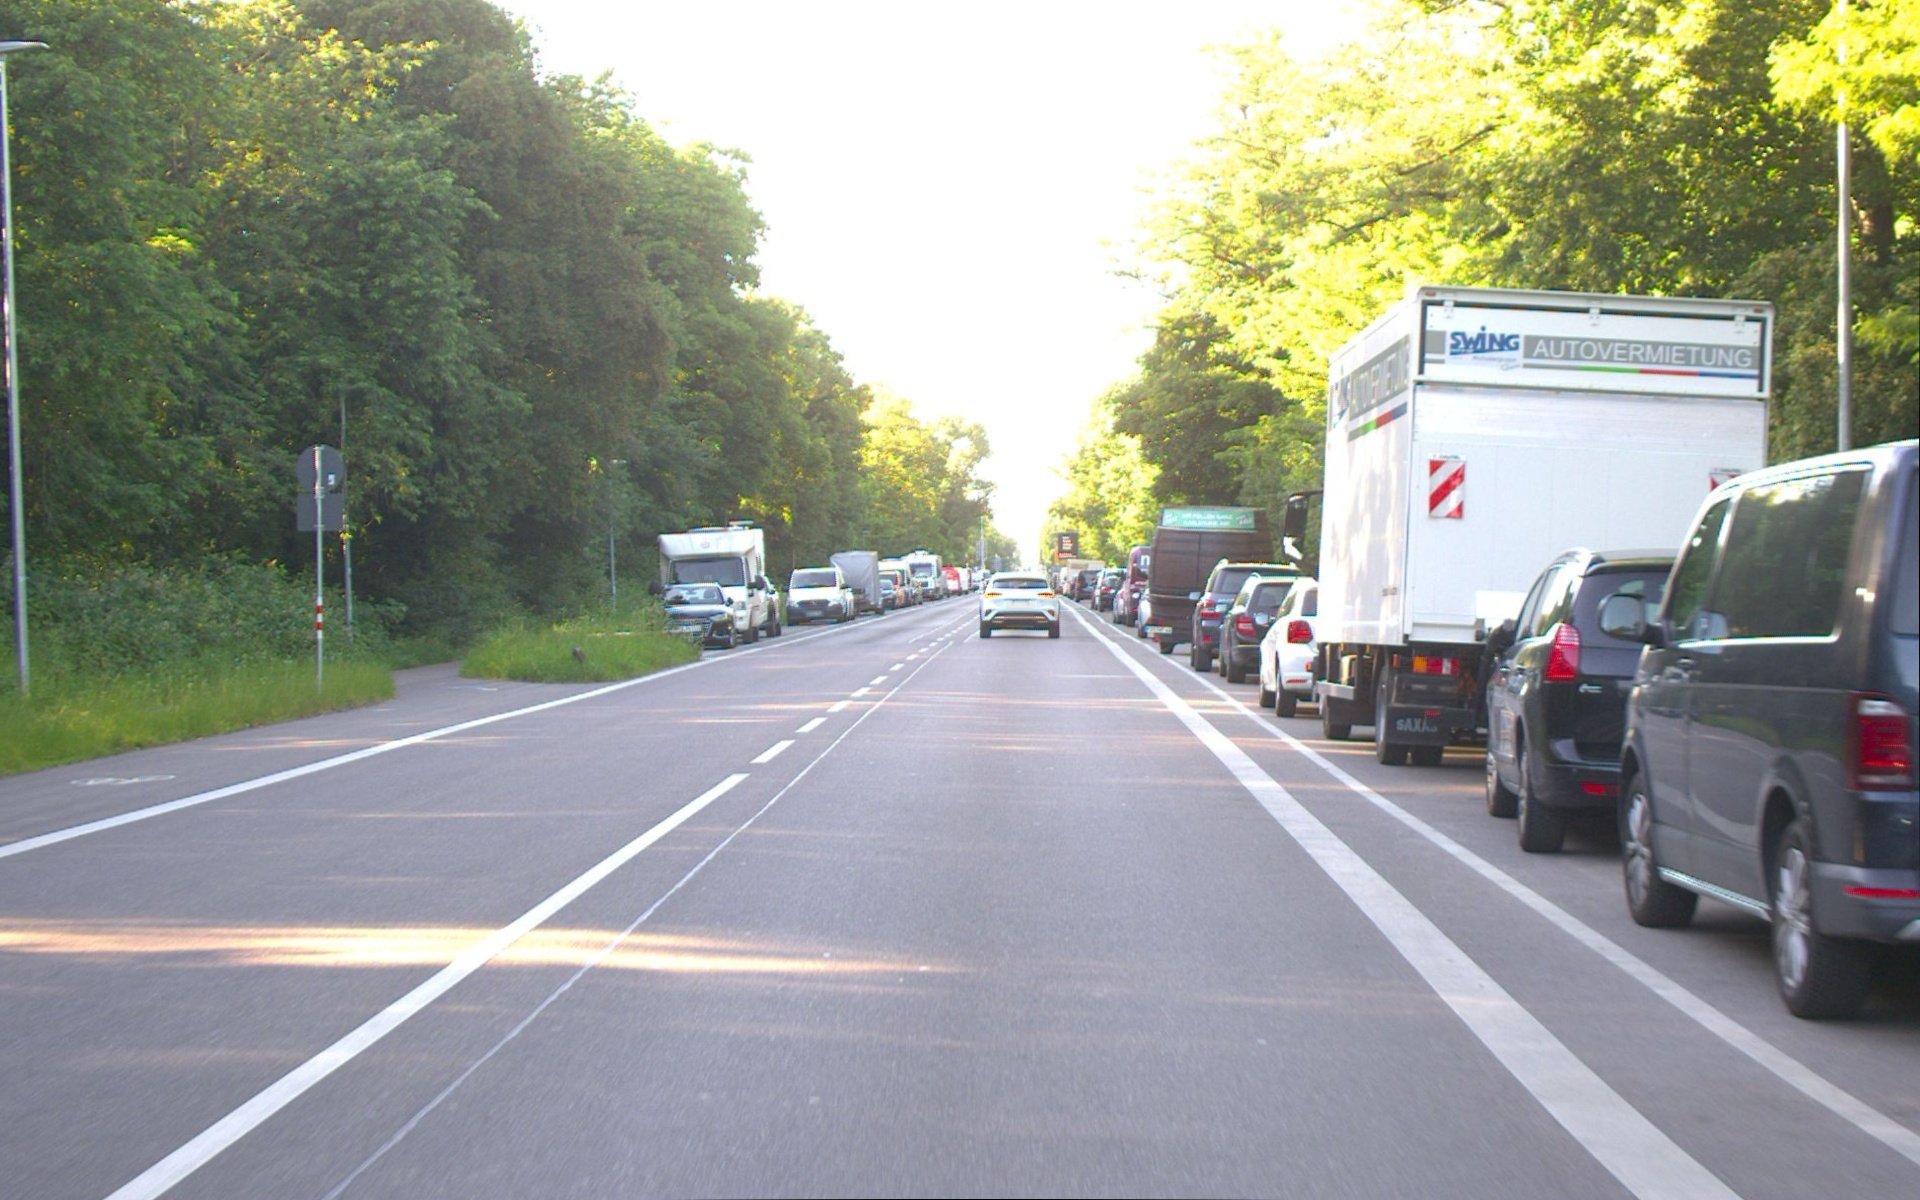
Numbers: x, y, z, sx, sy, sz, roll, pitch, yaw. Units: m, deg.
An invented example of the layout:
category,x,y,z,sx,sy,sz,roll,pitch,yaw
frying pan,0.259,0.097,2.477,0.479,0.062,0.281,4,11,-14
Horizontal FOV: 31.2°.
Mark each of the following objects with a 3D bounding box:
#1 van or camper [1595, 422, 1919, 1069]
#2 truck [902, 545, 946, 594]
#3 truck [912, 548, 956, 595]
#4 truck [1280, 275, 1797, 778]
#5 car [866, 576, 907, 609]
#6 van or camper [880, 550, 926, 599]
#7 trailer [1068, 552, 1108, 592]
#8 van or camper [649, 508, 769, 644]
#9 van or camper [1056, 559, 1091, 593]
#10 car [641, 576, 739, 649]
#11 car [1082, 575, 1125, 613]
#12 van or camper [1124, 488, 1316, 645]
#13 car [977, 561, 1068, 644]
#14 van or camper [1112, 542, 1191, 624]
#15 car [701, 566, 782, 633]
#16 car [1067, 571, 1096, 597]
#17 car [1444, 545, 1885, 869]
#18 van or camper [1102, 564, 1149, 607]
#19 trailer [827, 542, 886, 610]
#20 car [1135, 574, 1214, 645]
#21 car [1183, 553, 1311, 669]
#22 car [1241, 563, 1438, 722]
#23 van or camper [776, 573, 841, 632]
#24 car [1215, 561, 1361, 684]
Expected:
category,x,y,z,sx,sy,sz,roll,pitch,yaw
van or camper,3.710,0.415,12.935,1.897,2.007,4.586,-1,1,2
truck,-2.508,-2.155,242.922,2.708,3.336,10.923,0,0,2
truck,-1.714,-1.897,231.620,2.708,3.083,7.989,0,0,2
truck,4.453,-0.562,28.393,2.832,3.486,8.578,-1,1,0
car,-3.511,-0.380,165.089,1.731,1.473,4.324,-2,0,2
van or camper,-3.047,-1.370,184.413,2.121,2.563,6.542,-1,0,2
trailer,9.142,-2.007,246.850,2.757,2.860,6.588,-1,0,1
van or camper,-5.877,-0.581,81.420,2.314,2.960,7.111,-3,1,-1
van or camper,6.662,-1.407,202.143,1.993,1.925,5.199,1,0,1
car,-5.788,0.244,74.160,1.827,1.471,4.681,-2,1,-2
car,5.935,-0.265,142.086,1.690,1.519,4.149,1,0,2
van or camper,5.038,-0.661,65.553,2.442,2.790,6.552,-1,1,15
car,1.458,0.038,78.966,2.029,1.834,4.029,-1,1,2
van or camper,5.634,-0.532,101.789,2.035,2.304,6.041,-1,1,1
car,-5.665,-0.039,89.591,1.646,1.626,4.273,-3,0,2
car,7.967,-1.067,224.903,1.841,1.656,4.000,-1,0,2
car,3.914,0.528,19.740,1.799,1.651,4.029,-1,1,2
van or camper,7.137,-0.645,148.769,1.951,1.809,4.380,0,0,2
trailer,-4.163,-0.966,138.800,1.993,2.589,4.415,-3,0,2
car,5.003,0.203,80.563,1.712,1.540,4.022,2,1,2
car,4.348,0.137,52.609,1.712,1.659,4.551,2,1,2
car,4.028,0.411,37.018,1.712,1.563,4.000,1,1,1
van or camper,-5.076,0.064,115.518,1.835,1.905,4.856,-2,0,1
car,4.435,0.266,47.071,1.712,1.563,4.551,2,1,2
